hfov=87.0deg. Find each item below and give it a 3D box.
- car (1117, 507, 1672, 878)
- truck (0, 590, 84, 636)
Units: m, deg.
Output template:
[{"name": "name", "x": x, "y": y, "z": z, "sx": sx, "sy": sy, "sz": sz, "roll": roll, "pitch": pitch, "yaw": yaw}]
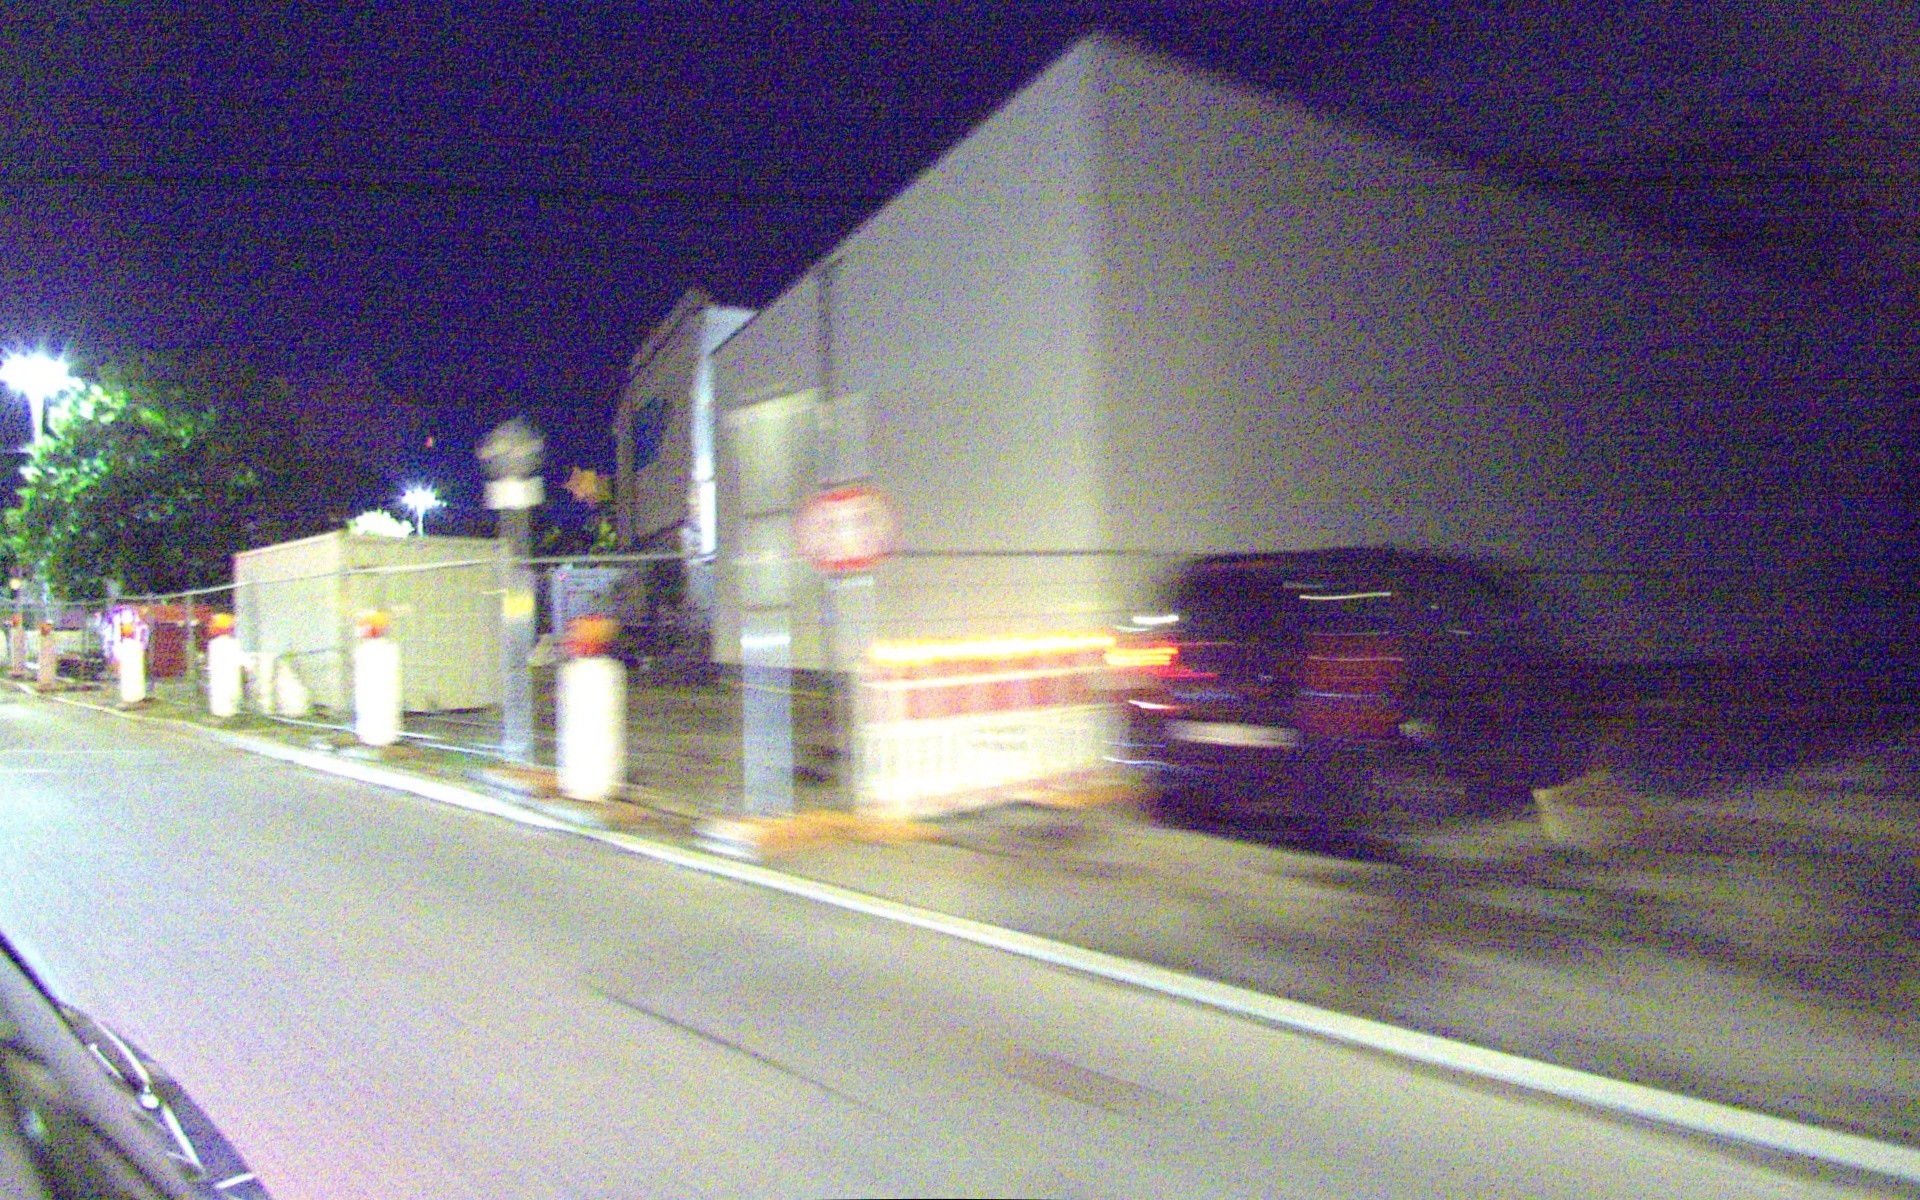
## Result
[{"name": "car", "x": 3.186, "y": 0.490, "z": 7.158, "sx": 3.935, "sy": 1.903, "sz": 1.913, "roll": 0, "pitch": -1, "yaw": -37}, {"name": "truck", "x": -76.470, "y": 1.053, "z": 83.556, "sx": 6.106, "sy": 3.722, "sz": 2.406, "roll": 0, "pitch": -1, "yaw": -38}]
